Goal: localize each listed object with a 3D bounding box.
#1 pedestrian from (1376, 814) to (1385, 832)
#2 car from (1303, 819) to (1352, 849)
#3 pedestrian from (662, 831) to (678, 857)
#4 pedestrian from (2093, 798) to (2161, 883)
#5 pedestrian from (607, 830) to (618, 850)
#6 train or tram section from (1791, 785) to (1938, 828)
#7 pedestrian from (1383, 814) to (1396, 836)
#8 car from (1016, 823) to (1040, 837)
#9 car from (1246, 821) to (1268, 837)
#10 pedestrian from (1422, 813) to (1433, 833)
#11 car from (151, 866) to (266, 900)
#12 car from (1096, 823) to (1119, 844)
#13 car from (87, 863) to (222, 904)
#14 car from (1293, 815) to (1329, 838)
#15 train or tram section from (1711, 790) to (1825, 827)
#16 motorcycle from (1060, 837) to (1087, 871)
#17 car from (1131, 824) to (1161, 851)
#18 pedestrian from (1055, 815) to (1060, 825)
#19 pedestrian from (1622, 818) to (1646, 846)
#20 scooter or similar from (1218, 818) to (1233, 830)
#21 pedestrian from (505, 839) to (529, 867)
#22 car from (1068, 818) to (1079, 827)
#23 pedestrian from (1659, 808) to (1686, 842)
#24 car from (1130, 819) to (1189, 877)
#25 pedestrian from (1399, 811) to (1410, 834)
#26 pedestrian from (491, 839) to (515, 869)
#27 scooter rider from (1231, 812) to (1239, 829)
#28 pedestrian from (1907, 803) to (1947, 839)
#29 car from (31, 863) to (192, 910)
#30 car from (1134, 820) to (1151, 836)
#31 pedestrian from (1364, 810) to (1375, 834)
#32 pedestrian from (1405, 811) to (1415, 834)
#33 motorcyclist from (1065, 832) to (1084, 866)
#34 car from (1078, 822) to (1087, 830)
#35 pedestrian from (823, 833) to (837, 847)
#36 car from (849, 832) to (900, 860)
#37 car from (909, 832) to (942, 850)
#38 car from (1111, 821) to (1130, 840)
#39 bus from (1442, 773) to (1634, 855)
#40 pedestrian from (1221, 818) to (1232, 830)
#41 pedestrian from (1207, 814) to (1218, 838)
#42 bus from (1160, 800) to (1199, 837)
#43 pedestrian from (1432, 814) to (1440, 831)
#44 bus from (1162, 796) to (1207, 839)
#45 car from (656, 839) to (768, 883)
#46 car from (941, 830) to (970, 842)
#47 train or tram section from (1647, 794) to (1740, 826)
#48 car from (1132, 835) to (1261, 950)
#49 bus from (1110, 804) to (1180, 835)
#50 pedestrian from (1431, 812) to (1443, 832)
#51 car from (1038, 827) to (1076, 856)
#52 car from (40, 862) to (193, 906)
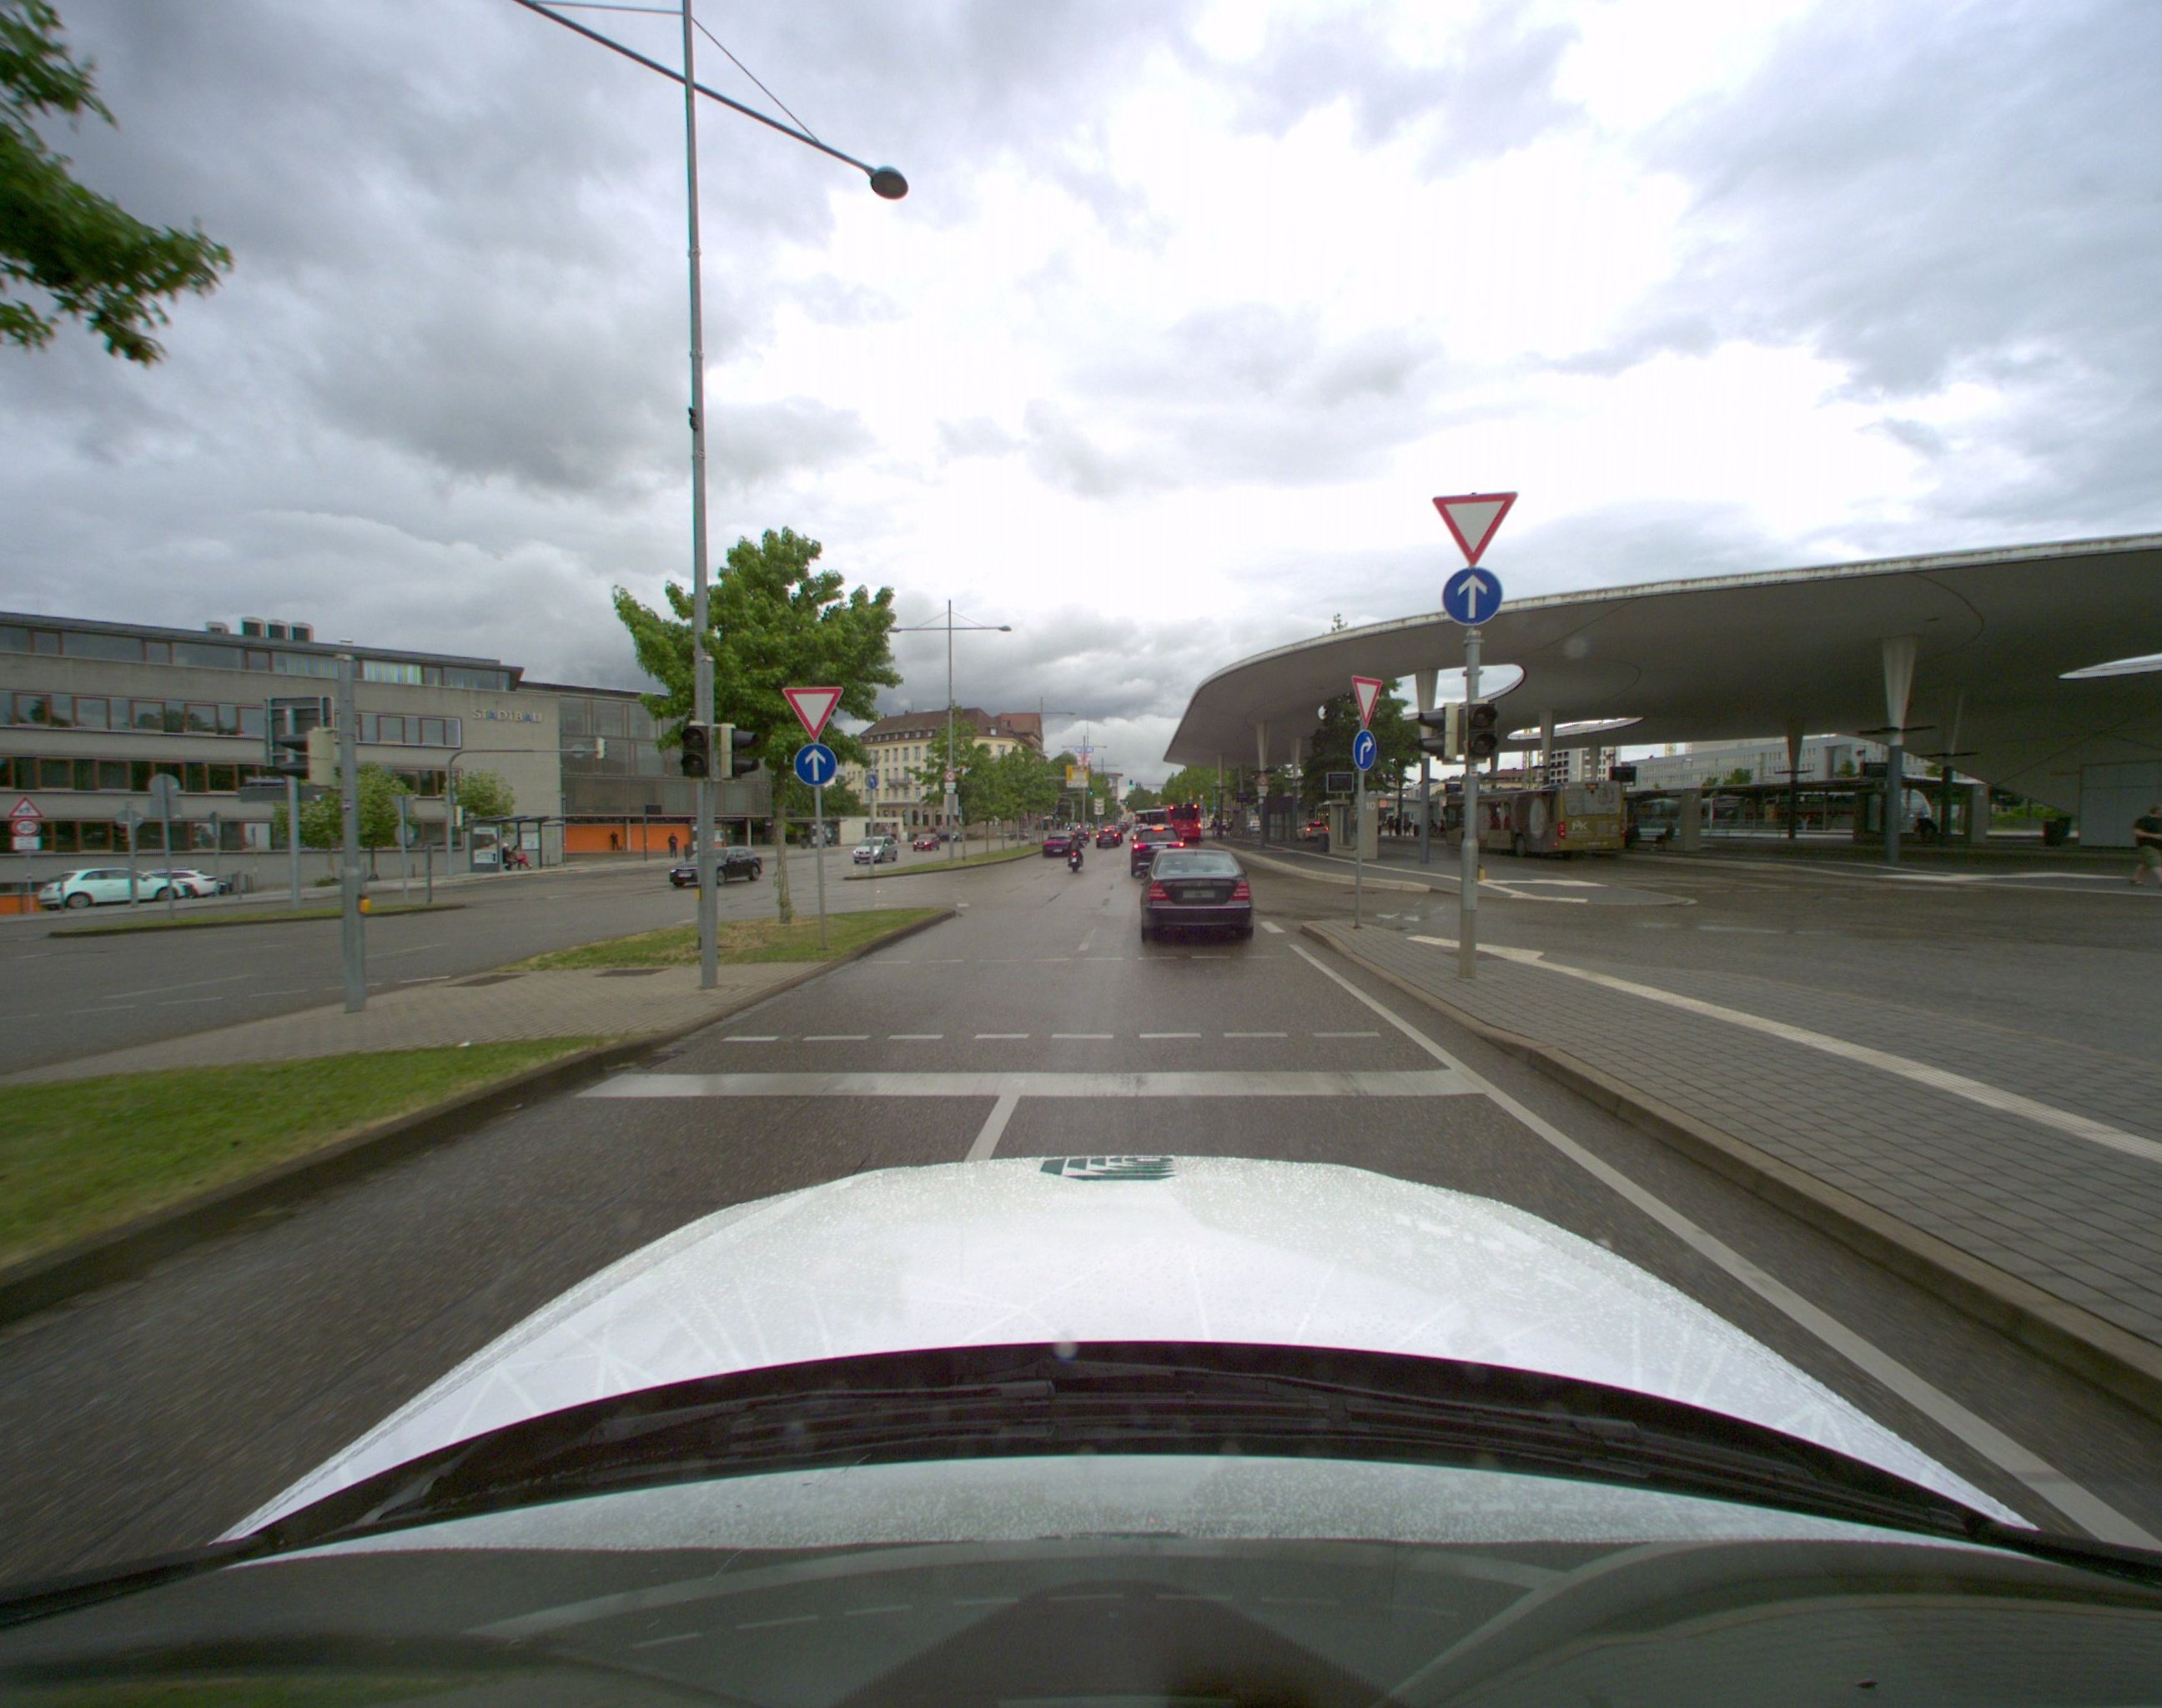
[{"bbox_3d":[26.776,-2.744,72.895,0.574,1.578,0.565,1,-2,39],"label":"pedestrian"},{"bbox_3d":[12.622,-1.042,41.802,1.640,1.452,3.240,-1,3,2],"label":"car"},{"bbox_3d":[-27.268,-0.694,54.058,0.471,1.683,0.765,-2,2,10],"label":"pedestrian"},{"bbox_3d":[21.741,-0.281,16.732,0.720,1.683,1.014,-3,2,-22],"label":"pedestrian"},{"bbox_3d":[-40.105,-1.196,69.736,0.469,1.683,0.647,-1,2,34],"label":"pedestrian"},{"bbox_3d":[74.236,-4.417,77.703,3.118,3.677,11.629,3,2,3],"label":"train or tram section"},{"bbox_3d":[22.950,-2.152,60.543,0.597,1.581,0.710,-2,0,-5],"label":"pedestrian"},{"bbox_3d":[-6.979,-3.114,106.500,1.874,1.684,3.969,2,0,-23],"label":"car"},{"bbox_3d":[19.381,-2.759,89.976,1.705,1.662,4.244,0,2,3],"label":"car"},{"bbox_3d":[26.033,-2.327,61.267,0.558,1.444,0.614,-1,1,0],"label":"pedestrian"},{"bbox_3d":[-44.099,1.407,41.250,1.613,1.495,3.602,0,1,22],"label":"car"},{"bbox_3d":[2.112,-1.613,63.892,1.568,1.504,3.877,-3,2,5],"label":"car"},{"bbox_3d":[-40.734,1.263,35.914,1.743,1.495,3.812,0,3,42],"label":"car"},{"bbox_3d":[17.481,-2.115,62.048,1.705,1.662,4.244,0,2,3],"label":"car"},{"bbox_3d":[74.919,-4.892,89.314,3.118,3.680,11.629,3,3,3],"label":"train or tram section"},{"bbox_3d":[-0.282,-0.027,33.551,0.788,1.262,1.859,-3,2,7],"label":"motorcycle"},{"bbox_3d":[4.101,-1.086,51.657,1.733,1.567,3.876,-3,2,4],"label":"car"},{"bbox_3d":[-4.732,-6.773,163.494,0.727,1.965,0.820,-3,2,-23],"label":"pedestrian"},{"bbox_3d":[24.688,-0.984,36.365,0.786,1.226,0.637,-1,2,21],"label":"pedestrian"},{"bbox_3d":[13.039,-2.690,73.429,1.233,1.013,0.768,-1,2,17],"label":"scooter or similar"},{"bbox_3d":[-28.681,-0.073,41.424,0.676,1.392,0.721,-1,2,1],"label":"pedestrian"},{"bbox_3d":[-1.495,-6.196,161.056,1.772,1.567,3.434,-3,2,4],"label":"car"},{"bbox_3d":[24.828,-1.230,34.209,0.786,1.377,0.637,-1,2,21],"label":"pedestrian"},{"bbox_3d":[2.878,-0.310,30.692,1.949,1.875,4.880,-3,2,4],"label":"car"},{"bbox_3d":[23.494,-2.286,59.139,0.559,1.691,0.613,-1,2,-3],"label":"pedestrian"},{"bbox_3d":[-28.738,0.006,40.500,0.676,1.468,0.626,-1,2,1],"label":"pedestrian"},{"bbox_3d":[13.861,-2.986,73.178,0.587,1.489,0.768,-1,1,17],"label":"scooter rider"},{"bbox_3d":[37.223,-1.449,35.847,0.792,1.586,0.907,1,1,-3],"label":"pedestrian"},{"bbox_3d":[-37.264,1.213,31.422,1.614,1.495,3.600,-1,2,19],"label":"car"},{"bbox_3d":[6.317,-2.695,84.006,1.568,1.567,3.876,-3,2,4],"label":"car"},{"bbox_3d":[24.516,-2.697,69.196,0.716,2.014,0.674,2,-2,30],"label":"pedestrian"},{"bbox_3d":[26.986,-2.565,66.793,0.583,1.874,0.721,1,3,33],"label":"pedestrian"},{"bbox_3d":[-0.279,-0.202,33.724,0.638,1.347,0.690,-2,2,7],"label":"motorcyclist"},{"bbox_3d":[0.327,-5.826,167.214,1.568,1.567,3.434,-3,2,4],"label":"car"},{"bbox_3d":[-24.821,-1.387,80.388,0.967,1.267,0.854,3,4,24],"label":"pedestrian"},{"bbox_3d":[-13.035,-0.530,51.704,1.839,1.652,4.424,-1,2,4],"label":"car"},{"bbox_3d":[-14.361,-1.240,75.410,1.814,1.551,4.039,-2,2,5],"label":"car"},{"bbox_3d":[3.535,-2.095,72.470,1.568,1.567,3.876,-3,2,4],"label":"car"},{"bbox_3d":[20.146,-1.777,37.193,2.709,3.043,12.104,-2,2,4],"label":"bus"},{"bbox_3d":[13.122,-2.687,73.255,0.906,0.985,0.636,0,-2,17],"label":"pedestrian"},{"bbox_3d":[11.285,-2.367,69.635,0.772,2.013,0.785,2,2,16],"label":"pedestrian"},{"bbox_3d":[9.458,-3.414,79.168,3.276,3.288,8.863,-2,2,5],"label":"bus"},{"bbox_3d":[26.371,-2.330,60.545,0.454,1.250,0.566,1,3,33],"label":"pedestrian"},{"bbox_3d":[8.718,-3.087,69.900,3.271,3.291,10.894,-2,2,5],"label":"bus"},{"bbox_3d":[-14.580,0.210,32.534,1.838,1.504,4.927,-1,2,5],"label":"car"},{"bbox_3d":[-16.545,-2.368,107.018,1.694,1.527,4.587,-3,2,-38],"label":"car"},{"bbox_3d":[75.555,-5.410,100.915,3.118,3.658,11.629,3,3,3],"label":"train or tram section"},{"bbox_3d":[1.746,0.489,13.538,1.691,1.461,4.308,-2,2,3],"label":"car"},{"bbox_3d":[8.839,-4.767,113.829,2.859,3.987,11.736,-3,2,-35],"label":"bus"},{"bbox_3d":[26.141,-2.335,59.825,0.558,1.444,0.614,-1,1,0],"label":"pedestrian"},{"bbox_3d":[-1.443,-0.822,50.690,1.808,1.570,4.410,-3,2,4],"label":"car"},{"bbox_3d":[-38.933,1.157,32.987,1.614,1.495,3.600,-1,2,19],"label":"car"}]
